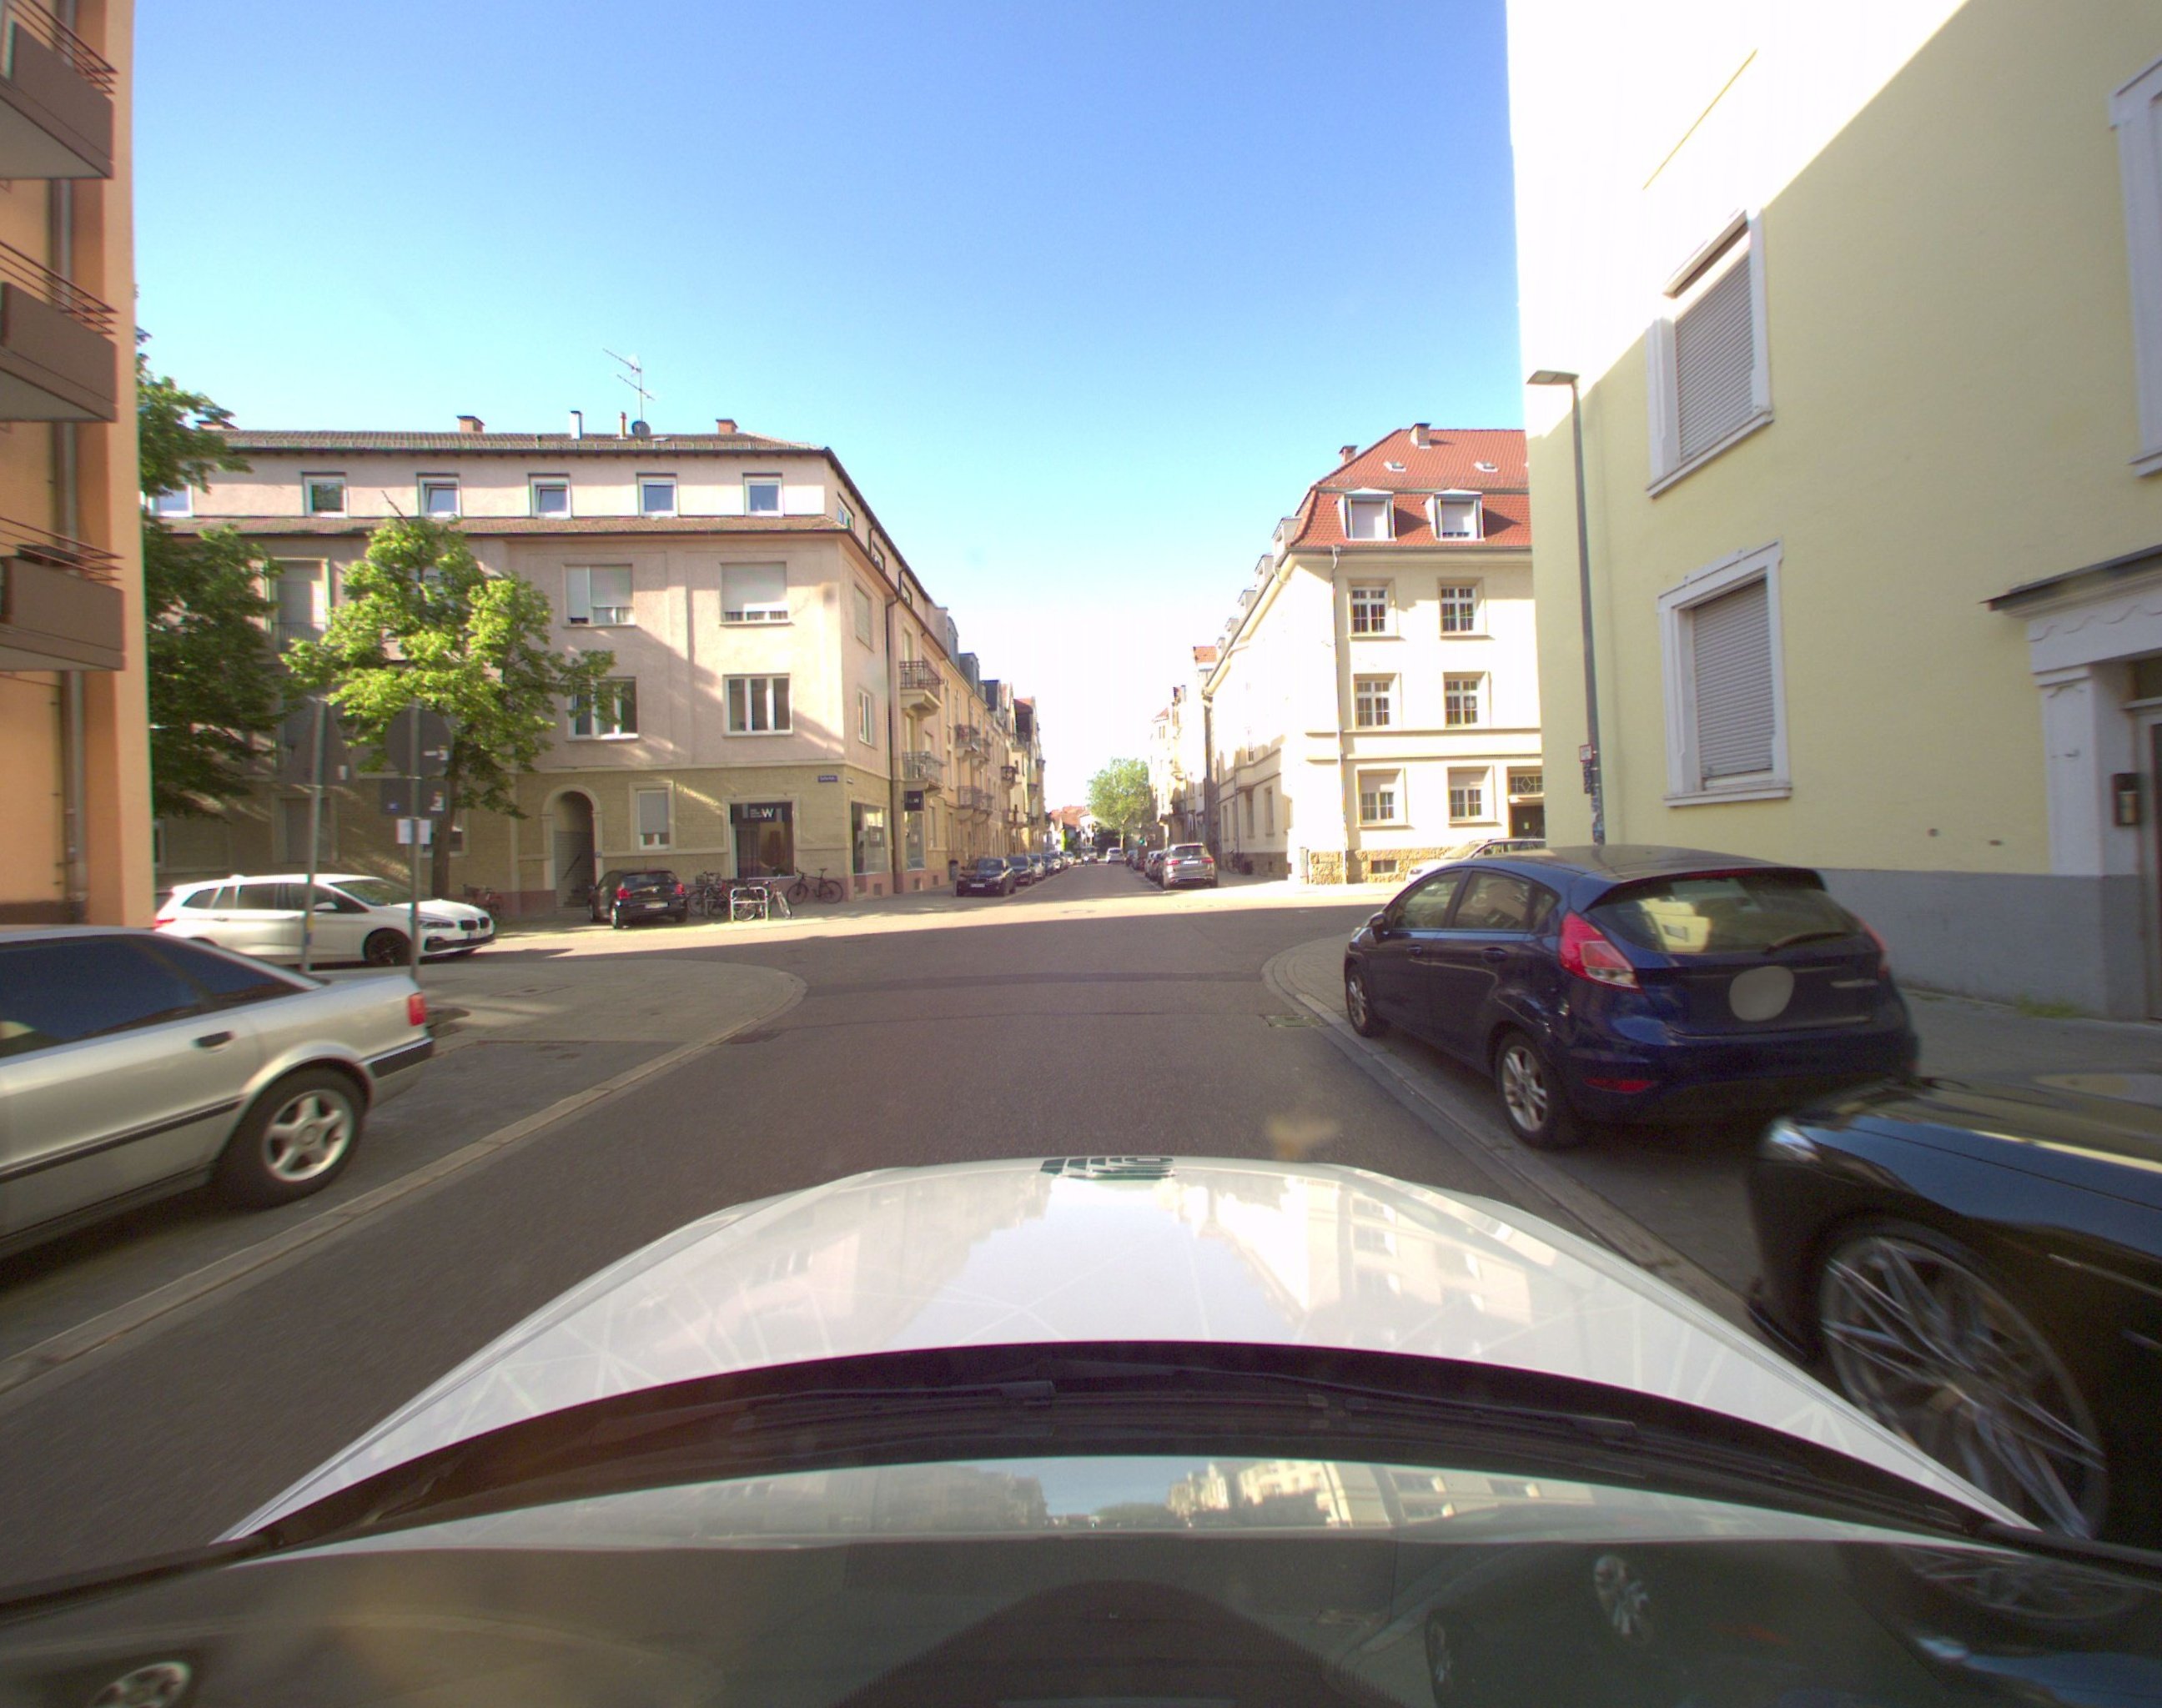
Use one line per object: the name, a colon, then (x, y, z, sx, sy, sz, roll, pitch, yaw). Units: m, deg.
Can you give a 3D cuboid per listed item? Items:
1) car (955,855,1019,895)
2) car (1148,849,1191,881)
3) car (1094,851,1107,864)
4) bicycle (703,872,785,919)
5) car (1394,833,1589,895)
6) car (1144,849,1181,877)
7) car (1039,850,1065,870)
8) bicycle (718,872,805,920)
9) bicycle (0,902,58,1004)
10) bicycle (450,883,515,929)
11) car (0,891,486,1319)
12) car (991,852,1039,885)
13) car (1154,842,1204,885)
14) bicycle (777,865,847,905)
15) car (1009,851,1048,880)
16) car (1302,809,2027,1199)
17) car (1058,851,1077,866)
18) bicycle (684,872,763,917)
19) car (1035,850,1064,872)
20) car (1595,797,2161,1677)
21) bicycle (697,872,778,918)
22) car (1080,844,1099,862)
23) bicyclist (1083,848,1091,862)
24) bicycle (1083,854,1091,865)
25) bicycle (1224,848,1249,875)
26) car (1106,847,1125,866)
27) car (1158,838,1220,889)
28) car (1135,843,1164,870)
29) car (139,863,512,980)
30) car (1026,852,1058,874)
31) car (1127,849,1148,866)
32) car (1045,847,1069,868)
car: (-3.491, 0.766, 30.930, 1.672, 1.426, 4.277, 0, -1, 3)
car: (4.411, 0.588, 41.076, 1.831, 1.431, 4.031, -4, -1, 2)
car: (2.972, 0.527, 127.847, 1.996, 2.000, 4.487, 0, -1, 1)
bicycle: (-8.846, 1.078, 21.384, 1.890, 1.135, 0.526, -2, 1, 2)
car: (11.337, 0.296, 22.662, 4.530, 1.468, 1.825, -2, -2, -6)
car: (4.594, 0.517, 46.469, 1.831, 1.431, 4.031, -4, -1, 2)
car: (-2.378, 0.528, 67.840, 1.996, 1.619, 4.487, 0, -1, 1)
bicycle: (-8.072, 1.049, 20.615, 1.890, 1.135, 0.649, -1, 2, 2)
bicycle: (-11.783, 1.071, 8.250, 0.502, 1.063, 1.891, 0, 0, -2)
bicycle: (-15.838, 1.349, 21.599, 0.503, 1.063, 1.889, 0, 1, -6)
car: (-4.649, 0.948, 2.795, 1.756, 1.377, 4.481, -2, 0, 2)
car: (-3.287, 0.704, 41.314, 1.996, 1.582, 4.487, 0, -1, 1)
car: (4.160, 0.430, 35.015, 1.738, 1.608, 4.031, -4, -1, 2)
bicycle: (-8.281, 0.939, 25.119, 1.896, 1.135, 0.647, -1, 2, -6)
car: (-3.071, 0.686, 48.672, 1.996, 1.619, 4.487, 0, -1, 1)
car: (3.003, 0.610, 5.434, 1.758, 1.470, 4.082, -5, 0, -2)
car: (-1.444, 0.530, 88.610, 1.996, 1.605, 4.487, 0, -1, 1)
bicycle: (-9.862, 1.107, 22.511, 1.893, 1.135, 0.526, -2, 1, -1)
car: (-2.385, 0.530, 62.540, 1.996, 1.619, 4.487, 0, -1, 1)
car: (2.703, 0.631, 0.270, 1.795, 1.470, 5.112, -5, 0, 1)
bicycle: (-9.225, 1.089, 21.892, 1.893, 1.135, 0.526, -2, 1, -1)
car: (0.975, -0.112, 91.317, 1.996, 2.000, 4.487, 0, -1, 1)
bicyclist: (0.615, 0.145, 83.166, 0.660, 1.385, 0.754, -4, -1, 0)
bicycle: (0.632, 0.585, 83.144, 0.660, 1.019, 2.066, -4, -1, 1)
bicycle: (7.550, 0.348, 39.705, 0.758, 1.246, 2.593, -2, 0, 2)
car: (3.720, 0.277, 87.913, 1.996, 1.914, 4.489, 0, -1, 2)
car: (3.933, 0.364, 30.395, 1.905, 1.644, 4.778, -4, -1, 4)
car: (4.943, 0.203, 59.270, 1.831, 1.787, 4.030, -3, -2, 2)
car: (-12.632, 1.074, 13.892, 4.427, 1.592, 1.724, -2, 1, -6)
car: (-2.712, 0.639, 57.964, 1.972, 1.482, 4.328, 0, -1, 1)
car: (5.422, 0.400, 78.095, 1.831, 1.431, 4.030, -4, -2, 2)
car: (-2.109, 0.329, 73.315, 1.996, 1.788, 4.487, 0, -1, 1)
